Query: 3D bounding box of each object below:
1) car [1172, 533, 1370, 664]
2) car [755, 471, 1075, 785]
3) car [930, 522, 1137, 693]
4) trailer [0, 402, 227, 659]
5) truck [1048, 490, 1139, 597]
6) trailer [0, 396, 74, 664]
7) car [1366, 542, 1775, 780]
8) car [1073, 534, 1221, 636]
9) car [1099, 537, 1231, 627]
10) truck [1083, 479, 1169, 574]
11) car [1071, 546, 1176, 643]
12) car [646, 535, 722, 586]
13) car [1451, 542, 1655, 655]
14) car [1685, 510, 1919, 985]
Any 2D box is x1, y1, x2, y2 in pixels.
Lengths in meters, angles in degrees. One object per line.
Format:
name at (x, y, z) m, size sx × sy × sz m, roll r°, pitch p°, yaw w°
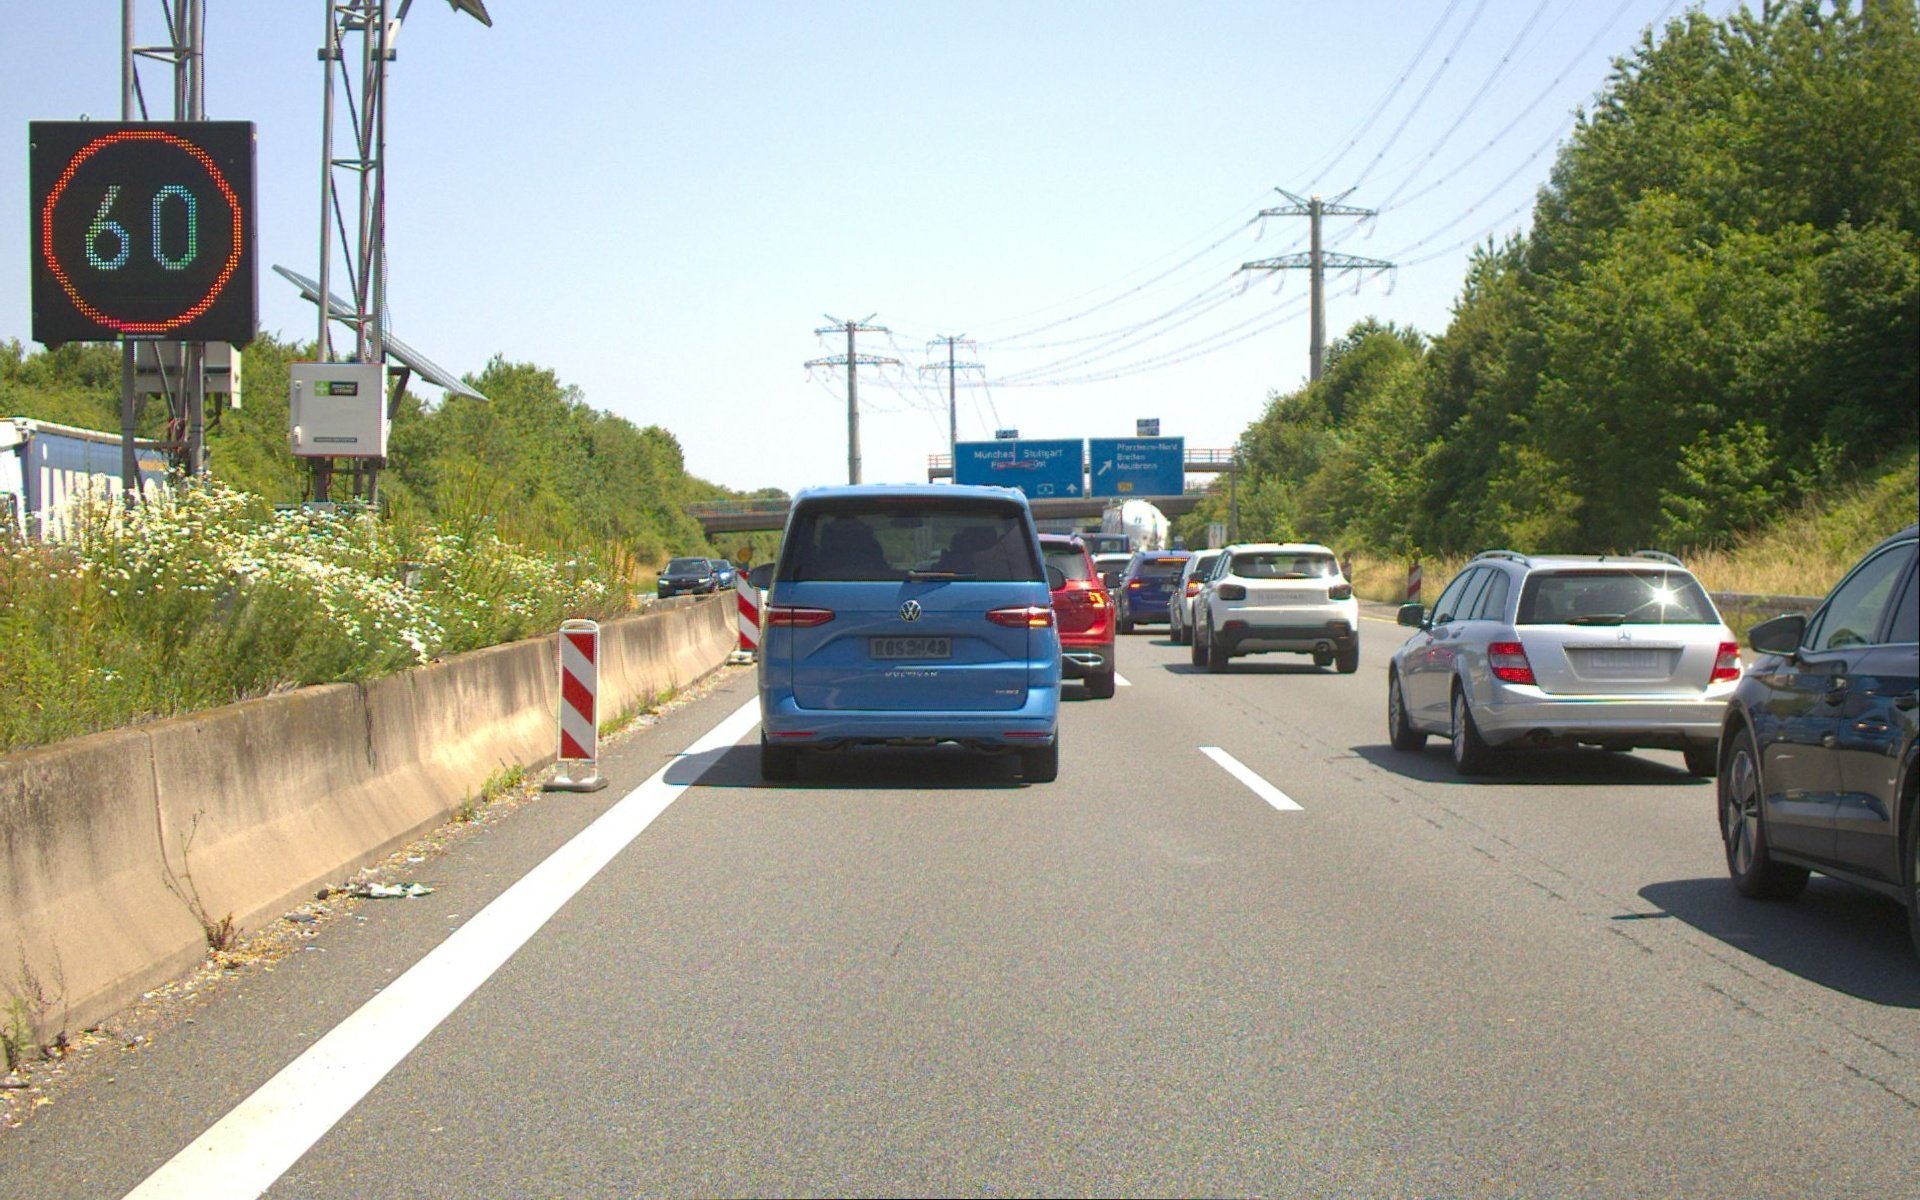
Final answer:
car at (3.746, -0.050, 42.036) m, size 1.908 × 1.502 × 3.922 m, roll 1°, pitch 1°, yaw -2°
car at (-0.398, 0.130, 22.992) m, size 1.870 × 1.872 × 4.384 m, roll 1°, pitch 1°, yaw -4°
car at (0.686, 0.034, 35.125) m, size 1.908 × 1.625 × 4.384 m, roll 0°, pitch 1°, yaw -1°
trailer at (-16.034, -1.182, 61.218) m, size 2.961 × 4.043 × 13.596 m, roll -2°, pitch 1°, yaw 0°
truck at (3.500, -1.493, 91.129) m, size 1.993 × 2.714 × 5.680 m, roll 1°, pitch 1°, yaw -1°
trailer at (-15.975, -1.032, 53.213) m, size 2.961 × 4.043 × 5.434 m, roll -2°, pitch 1°, yaw 0°
car at (4.032, 0.342, 23.424) m, size 1.821 × 1.432 × 4.384 m, roll 1°, pitch 1°, yaw -2°
car at (2.911, -0.271, 54.303) m, size 1.908 × 1.511 × 4.384 m, roll 1°, pitch 1°, yaw -2°
car at (3.606, -0.348, 61.188) m, size 1.908 × 1.511 × 4.384 m, roll 1°, pitch 1°, yaw -2°
truck at (7.452, -3.310, 156.644) m, size 2.644 × 4.058 × 16.442 m, roll 1°, pitch 1°, yaw -1°
car at (3.493, -0.146, 74.045) m, size 1.993 × 2.007 × 4.000 m, roll 1°, pitch 1°, yaw -1°
car at (-8.708, -1.269, 108.777) m, size 1.993 × 1.540 × 4.912 m, roll -1°, pitch 1°, yaw 0°
car at (7.662, -0.053, 44.753) m, size 1.734 × 1.373 × 4.303 m, roll 1°, pitch 1°, yaw -2°
car at (4.143, 0.477, 12.850) m, size 1.828 × 1.609 × 4.431 m, roll 0°, pitch 1°, yaw -1°
